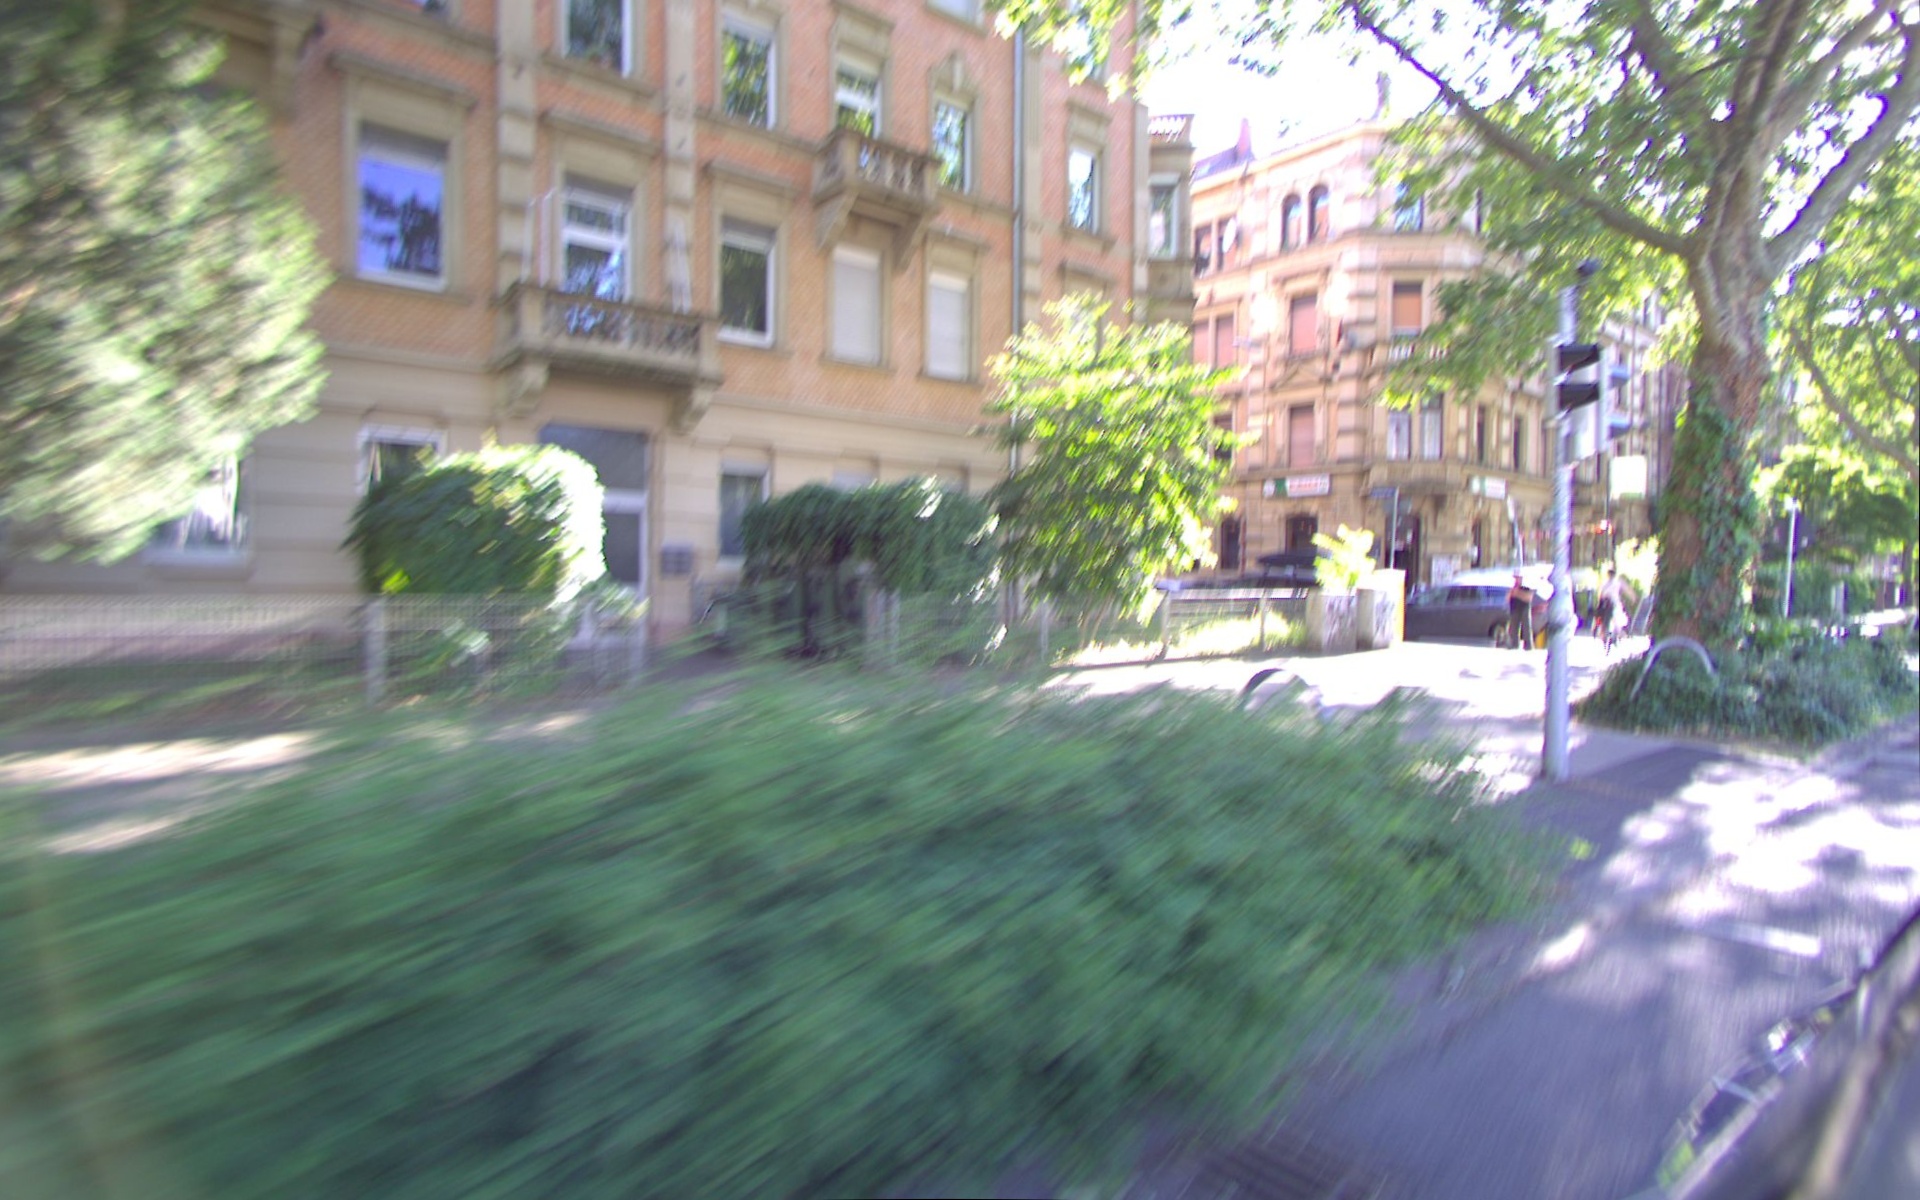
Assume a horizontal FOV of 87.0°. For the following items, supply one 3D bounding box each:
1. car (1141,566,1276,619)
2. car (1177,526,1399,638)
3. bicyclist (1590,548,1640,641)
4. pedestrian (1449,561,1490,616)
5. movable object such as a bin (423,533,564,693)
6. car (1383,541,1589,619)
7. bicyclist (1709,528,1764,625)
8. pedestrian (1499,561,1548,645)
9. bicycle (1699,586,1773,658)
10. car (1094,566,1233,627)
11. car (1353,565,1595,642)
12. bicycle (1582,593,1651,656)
[{"bbox_3d":[8.468,-0.307,34.718,1.873,1.581,4.181,0,3,-39],"label":"car"},{"bbox_3d":[6.977,-0.441,21.832,1.965,2.038,3.996,4,1,-41],"label":"car"},{"bbox_3d":[11.976,-0.108,18.503,0.543,1.645,0.634,6,4,44],"label":"bicyclist"},{"bbox_3d":[15.147,-0.351,30.092,0.885,1.611,0.862,1,1,44],"label":"pedestrian"},{"bbox_3d":[-4.753,0.104,10.298,1.064,1.481,0.909,0,5,-41],"label":"movable object such as a bin"},{"bbox_3d":[14.189,-0.606,27.524,1.873,1.868,4.560,0,3,-39],"label":"car"},{"bbox_3d":[13.700,-0.413,17.855,0.633,1.645,0.544,3,1,-41],"label":"bicyclist"},{"bbox_3d":[10.868,0.060,19.514,0.596,1.568,0.540,3,2,-40],"label":"pedestrian"},{"bbox_3d":[13.852,0.411,18.049,2.187,1.192,0.562,3,2,-41],"label":"bicycle"},{"bbox_3d":[5.953,-0.160,29.947,1.721,1.563,3.821,0,3,-37],"label":"car"},{"bbox_3d":[11.519,0.044,22.925,1.875,1.558,4.554,0,1,-42],"label":"car"},{"bbox_3d":[12.042,0.438,18.544,1.900,1.050,0.561,1,4,-44],"label":"bicycle"}]
